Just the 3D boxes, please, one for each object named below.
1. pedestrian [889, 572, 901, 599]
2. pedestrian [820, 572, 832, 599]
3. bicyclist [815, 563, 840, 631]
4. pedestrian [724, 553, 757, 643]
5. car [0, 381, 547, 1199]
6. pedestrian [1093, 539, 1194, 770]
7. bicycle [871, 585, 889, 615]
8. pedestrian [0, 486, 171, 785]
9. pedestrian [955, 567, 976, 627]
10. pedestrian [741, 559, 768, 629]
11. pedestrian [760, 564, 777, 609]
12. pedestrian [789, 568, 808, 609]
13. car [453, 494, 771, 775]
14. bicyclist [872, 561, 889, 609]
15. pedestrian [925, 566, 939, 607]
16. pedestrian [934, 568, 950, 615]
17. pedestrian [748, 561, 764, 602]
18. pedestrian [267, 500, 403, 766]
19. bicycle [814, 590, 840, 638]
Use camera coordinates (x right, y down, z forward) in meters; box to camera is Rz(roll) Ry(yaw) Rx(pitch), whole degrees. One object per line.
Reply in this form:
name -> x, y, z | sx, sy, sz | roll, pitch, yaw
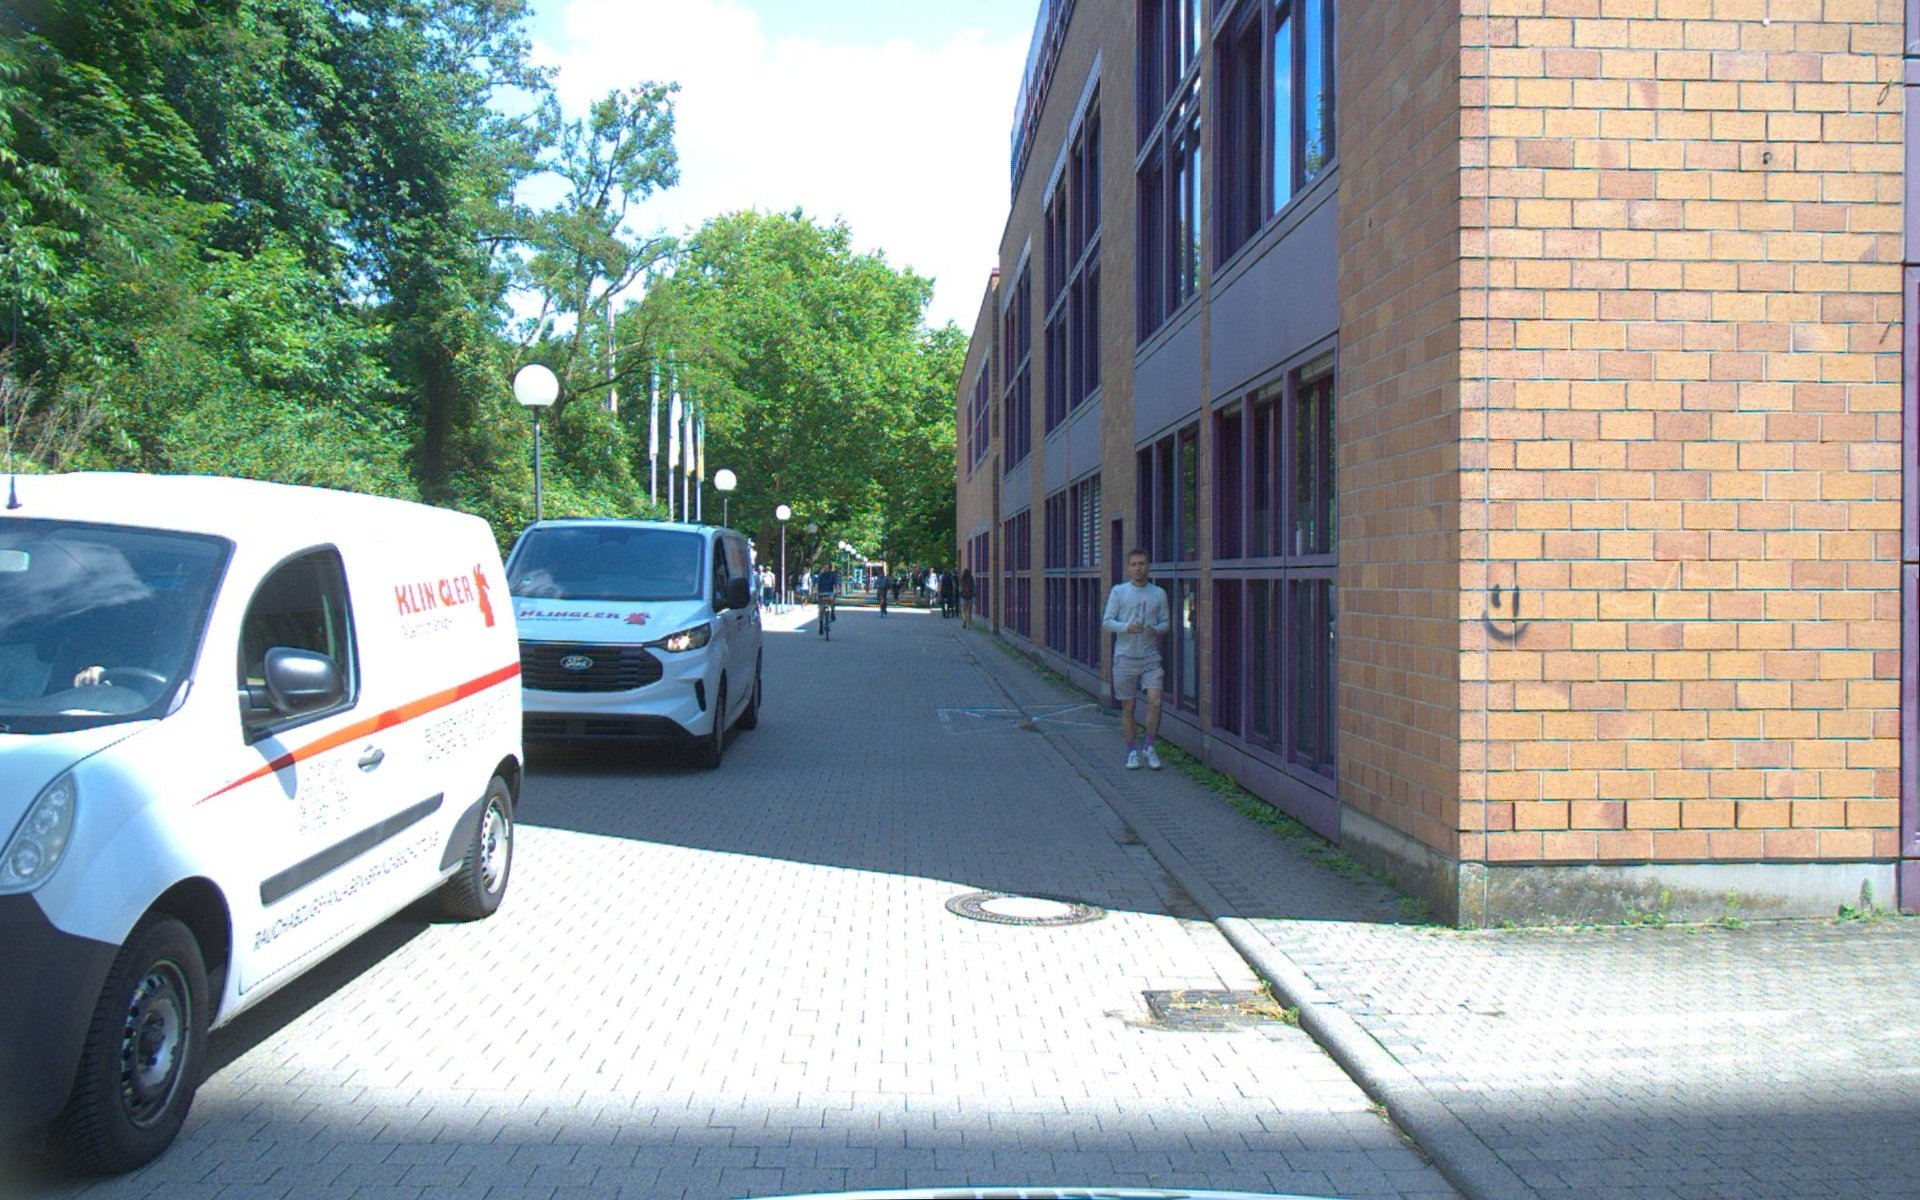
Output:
pedestrian -> -4.133, -0.928, 105.494 | 0.710, 1.702, 0.748 | -1, -1, -1
pedestrian -> -8.429, -0.924, 104.155 | 0.710, 1.702, 0.748 | -1, -1, -1
bicyclist -> -3.148, -0.070, 39.213 | 0.575, 1.600, 0.828 | 1, 0, -6
pedestrian -> -4.451, -0.033, 33.579 | 0.574, 1.796, 0.699 | -1, -1, -1
car -> -2.816, 0.429, 5.526 | 1.753, 1.792, 4.481 | 0, 1, 0
pedestrian -> 1.460, 0.427, 13.265 | 0.669, 1.778, 0.783 | 1, -1, -2
bicycle -> -2.938, -0.005, 60.746 | 0.575, 1.102, 1.905 | 1, 0, -5
pedestrian -> -5.715, 0.228, 10.844 | 0.669, 1.876, 0.783 | 1, -1, -2
pedestrian -> 0.150, -0.088, 47.573 | 0.574, 1.702, 0.699 | -1, -1, -1
pedestrian -> -5.052, -0.146, 40.667 | 0.574, 1.702, 0.699 | -1, -1, -1
pedestrian -> -7.177, -0.503, 62.033 | 0.574, 1.702, 0.699 | -1, -1, -1
pedestrian -> -6.723, -0.482, 68.991 | 0.710, 1.702, 0.748 | -1, -1, -1
car -> -2.806, 0.226, 14.530 | 1.846, 2.008, 5.212 | 1, 1, -2
bicyclist -> -2.923, -0.541, 60.643 | 0.575, 1.746, 0.665 | 1, 0, -6
pedestrian -> -1.337, -0.645, 78.853 | 0.640, 1.956, 0.817 | -1, -1, -1
pedestrian -> -0.669, -0.308, 60.886 | 0.574, 1.702, 0.817 | -1, -1, -1
pedestrian -> -8.661, -0.774, 70.272 | 0.574, 1.702, 0.699 | -1, -1, -1
pedestrian -> -4.587, 0.238, 12.187 | 0.669, 1.876, 0.783 | 1, -1, -2
bicycle -> -3.158, 0.321, 39.246 | 0.575, 1.102, 1.812 | 1, 0, -5
